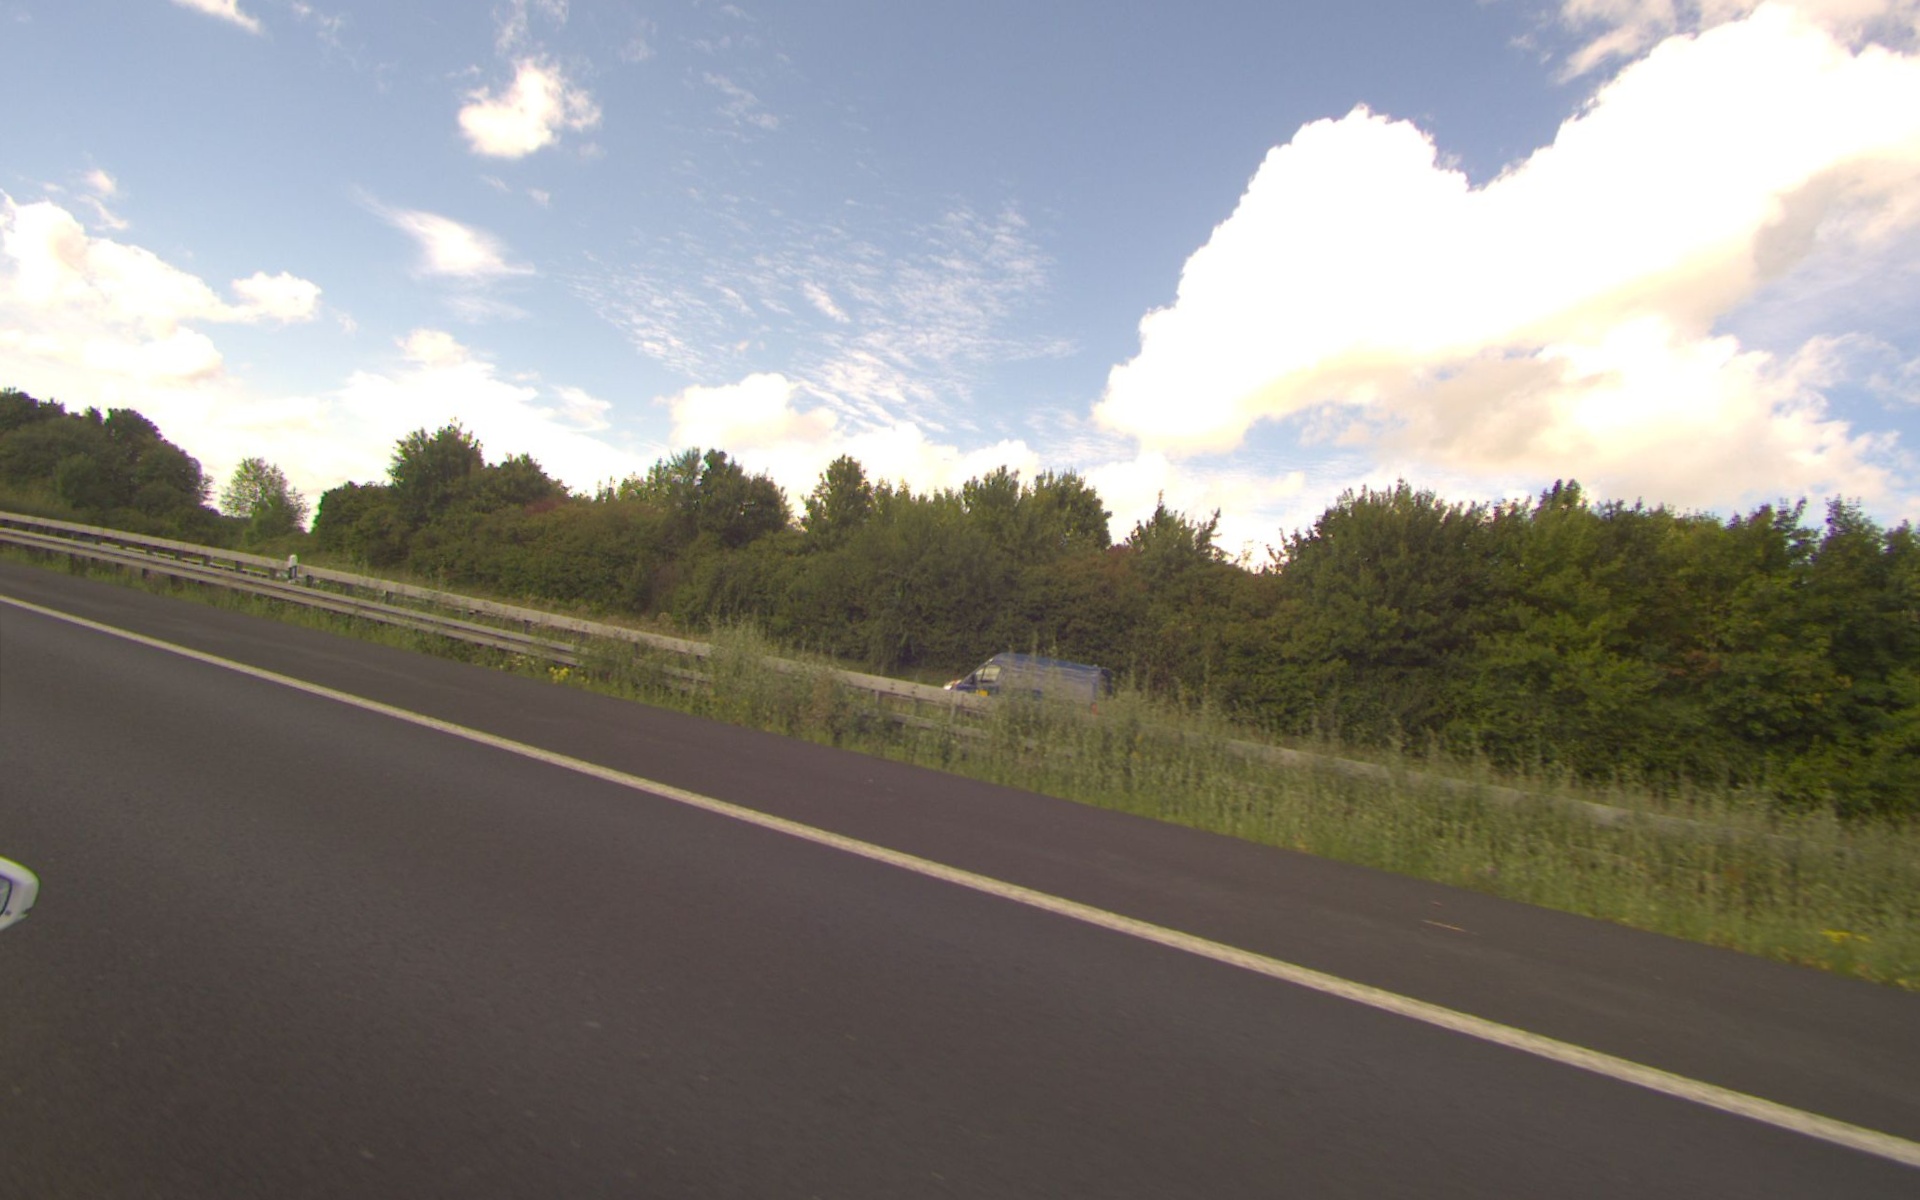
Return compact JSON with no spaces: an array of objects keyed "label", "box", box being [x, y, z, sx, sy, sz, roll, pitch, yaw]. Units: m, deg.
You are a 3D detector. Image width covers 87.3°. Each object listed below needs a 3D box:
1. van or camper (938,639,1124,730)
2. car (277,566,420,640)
[{"label":"van or camper","box":[2.399,2.840,34.059,5.674,2.204,2.199,7,-2,24]},{"label":"car","box":[-17.901,0.074,29.428,3.957,1.589,1.788,6,-2,31]}]
